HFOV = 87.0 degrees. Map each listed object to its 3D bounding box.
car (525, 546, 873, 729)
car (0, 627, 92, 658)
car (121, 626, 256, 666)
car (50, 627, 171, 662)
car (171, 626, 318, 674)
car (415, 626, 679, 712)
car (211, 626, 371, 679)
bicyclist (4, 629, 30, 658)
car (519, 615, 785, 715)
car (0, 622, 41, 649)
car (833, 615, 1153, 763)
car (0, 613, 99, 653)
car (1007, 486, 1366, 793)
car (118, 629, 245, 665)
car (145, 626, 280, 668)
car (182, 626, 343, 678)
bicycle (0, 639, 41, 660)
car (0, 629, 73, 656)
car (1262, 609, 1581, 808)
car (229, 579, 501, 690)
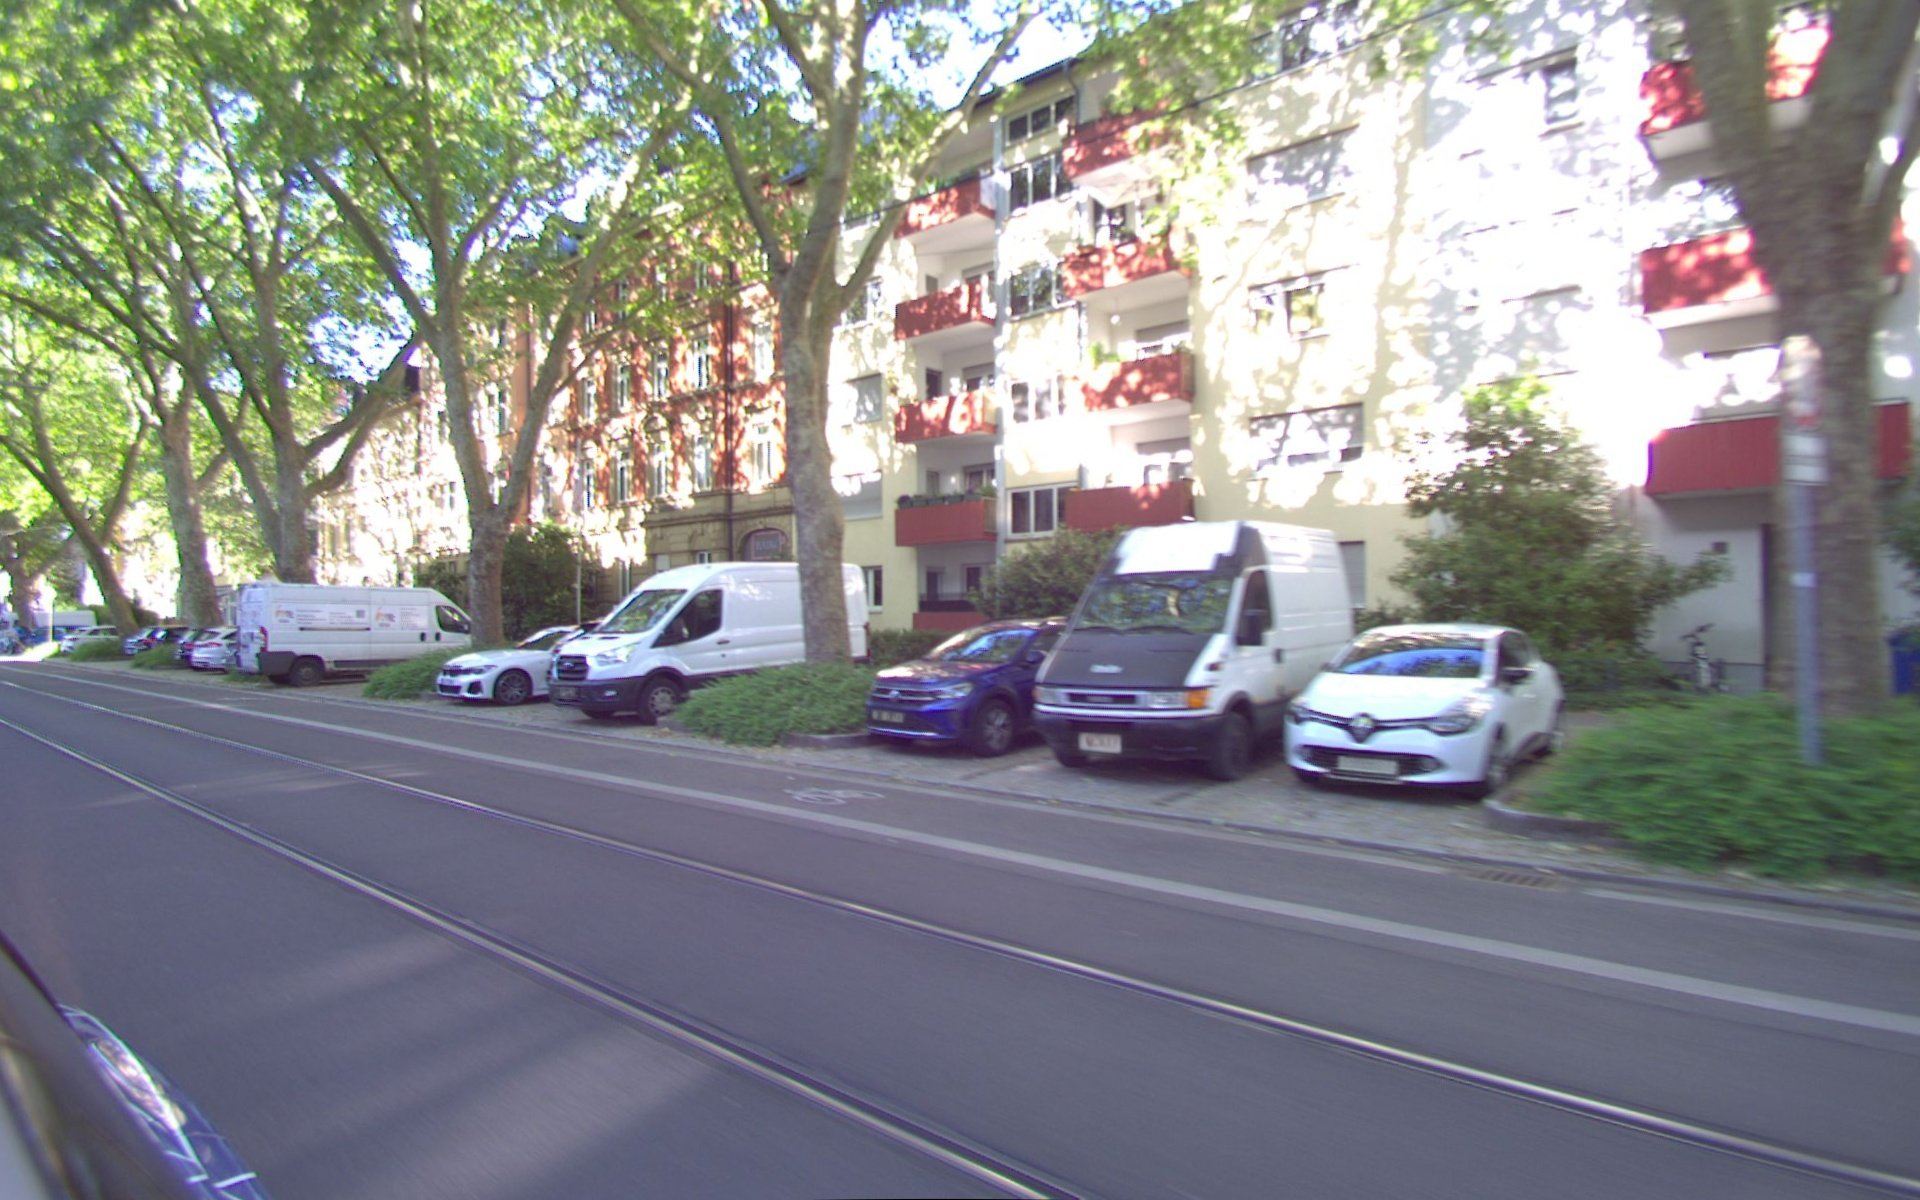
[{"bbox_3d":[-4.032,0.550,16.512,2.056,2.496,5.305,-2,-1,41],"label":"car"},{"bbox_3d":[-54.964,2.501,60.561,1.814,1.725,4.279,-1,-1,37],"label":"car"},{"bbox_3d":[-30.737,1.795,40.440,1.764,1.471,3.957,-1,-1,31],"label":"car"},{"bbox_3d":[-38.590,2.001,46.041,1.877,1.471,3.947,-2,-2,40],"label":"car"},{"bbox_3d":[-24.036,1.646,34.077,1.703,1.471,3.753,-2,-2,41],"label":"car"},{"bbox_3d":[-7.864,1.238,19.607,1.932,1.395,4.365,-2,-1,40],"label":"car"},{"bbox_3d":[-20.280,1.556,30.777,1.704,1.443,3.767,-2,-1,42],"label":"car"},{"bbox_3d":[-51.088,2.348,54.850,0.733,1.538,0.860,-2,-2,30],"label":"bicyclist"},{"bbox_3d":[-5.484,1.076,18.442,1.871,1.550,4.326,-2,-1,40],"label":"car"},{"bbox_3d":[-72.531,2.761,76.408,1.923,1.922,4.575,-2,0,45],"label":"car"},{"bbox_3d":[0.547,0.953,12.536,1.871,1.477,3.977,-2,-1,41],"label":"car"},{"bbox_3d":[-61.537,2.211,67.102,1.999,2.426,6.534,-2,0,41],"label":"car"},{"bbox_3d":[2.733,0.369,11.154,2.078,2.587,4.899,-1,-1,36],"label":"car"},{"bbox_3d":[-32.605,1.929,42.485,1.601,1.379,3.952,-1,-1,35],"label":"car"},{"bbox_3d":[-28.715,1.774,38.973,1.704,1.471,3.944,-2,-1,42],"label":"car"},{"bbox_3d":[-22.245,1.603,32.376,1.829,1.507,3.945,-2,-1,41],"label":"car"},{"bbox_3d":[-51.088,2.671,54.822,0.626,1.039,1.857,-2,-1,30],"label":"bicycle"},{"bbox_3d":[-56.757,2.587,61.760,1.745,1.529,3.734,-1,-1,37],"label":"car"},{"bbox_3d":[4.544,0.842,9.664,1.859,1.489,3.816,-2,-1,39],"label":"car"},{"bbox_3d":[-15.205,0.806,26.191,2.161,2.555,5.681,-2,-1,41],"label":"car"}]
